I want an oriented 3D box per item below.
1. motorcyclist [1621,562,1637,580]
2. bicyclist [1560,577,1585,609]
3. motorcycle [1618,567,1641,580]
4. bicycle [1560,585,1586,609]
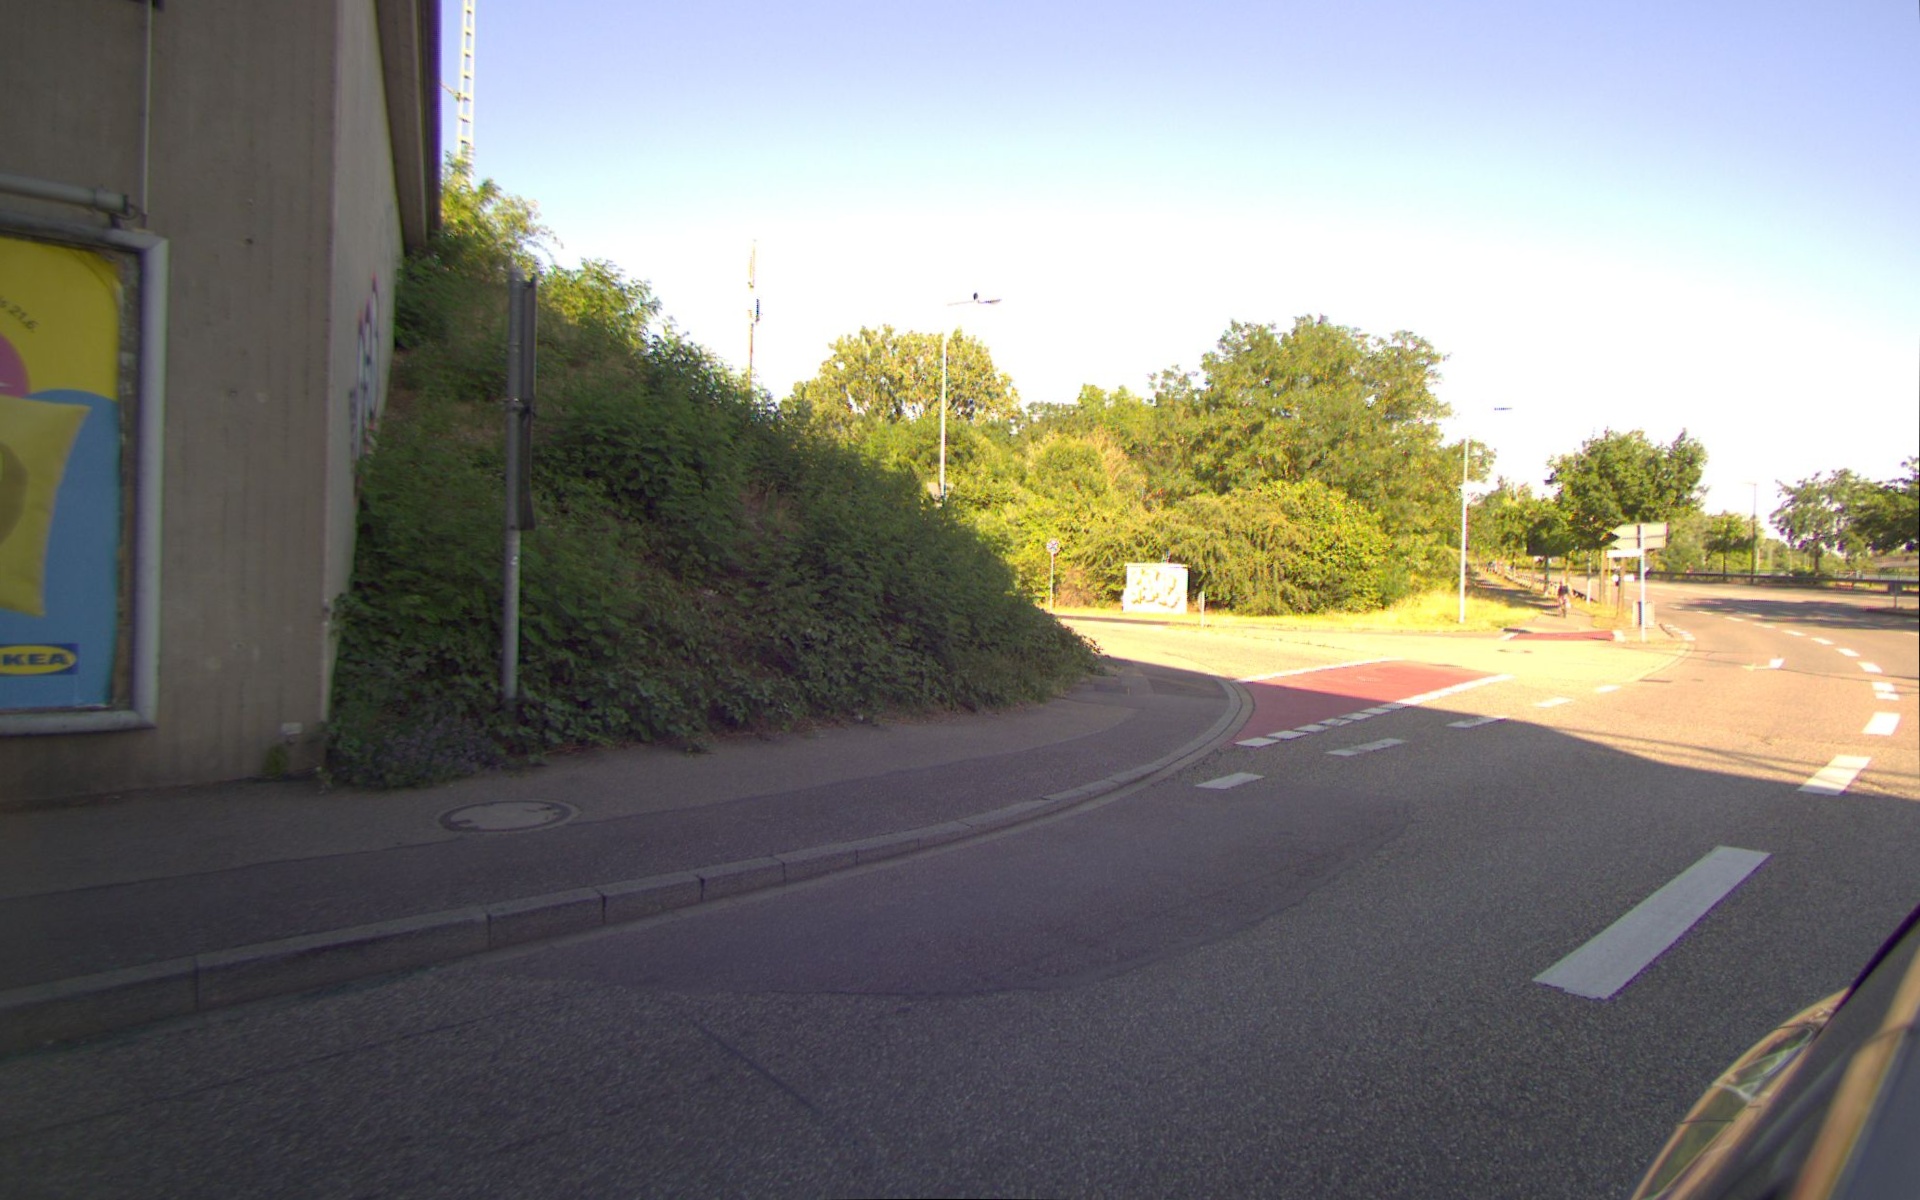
[{"bbox_3d":[55.677,-2.380,84.259,0.861,1.460,0.840,0,0,-34],"label":"motorcyclist"},{"bbox_3d":[27.338,-0.316,45.175,0.835,1.439,1.103,0,0,27],"label":"bicyclist"},{"bbox_3d":[55.732,-2.162,84.282,2.308,1.059,0.811,-1,0,-35],"label":"motorcycle"},{"bbox_3d":[27.364,-0.136,45.173,0.775,1.070,2.473,0,0,27],"label":"bicycle"}]
